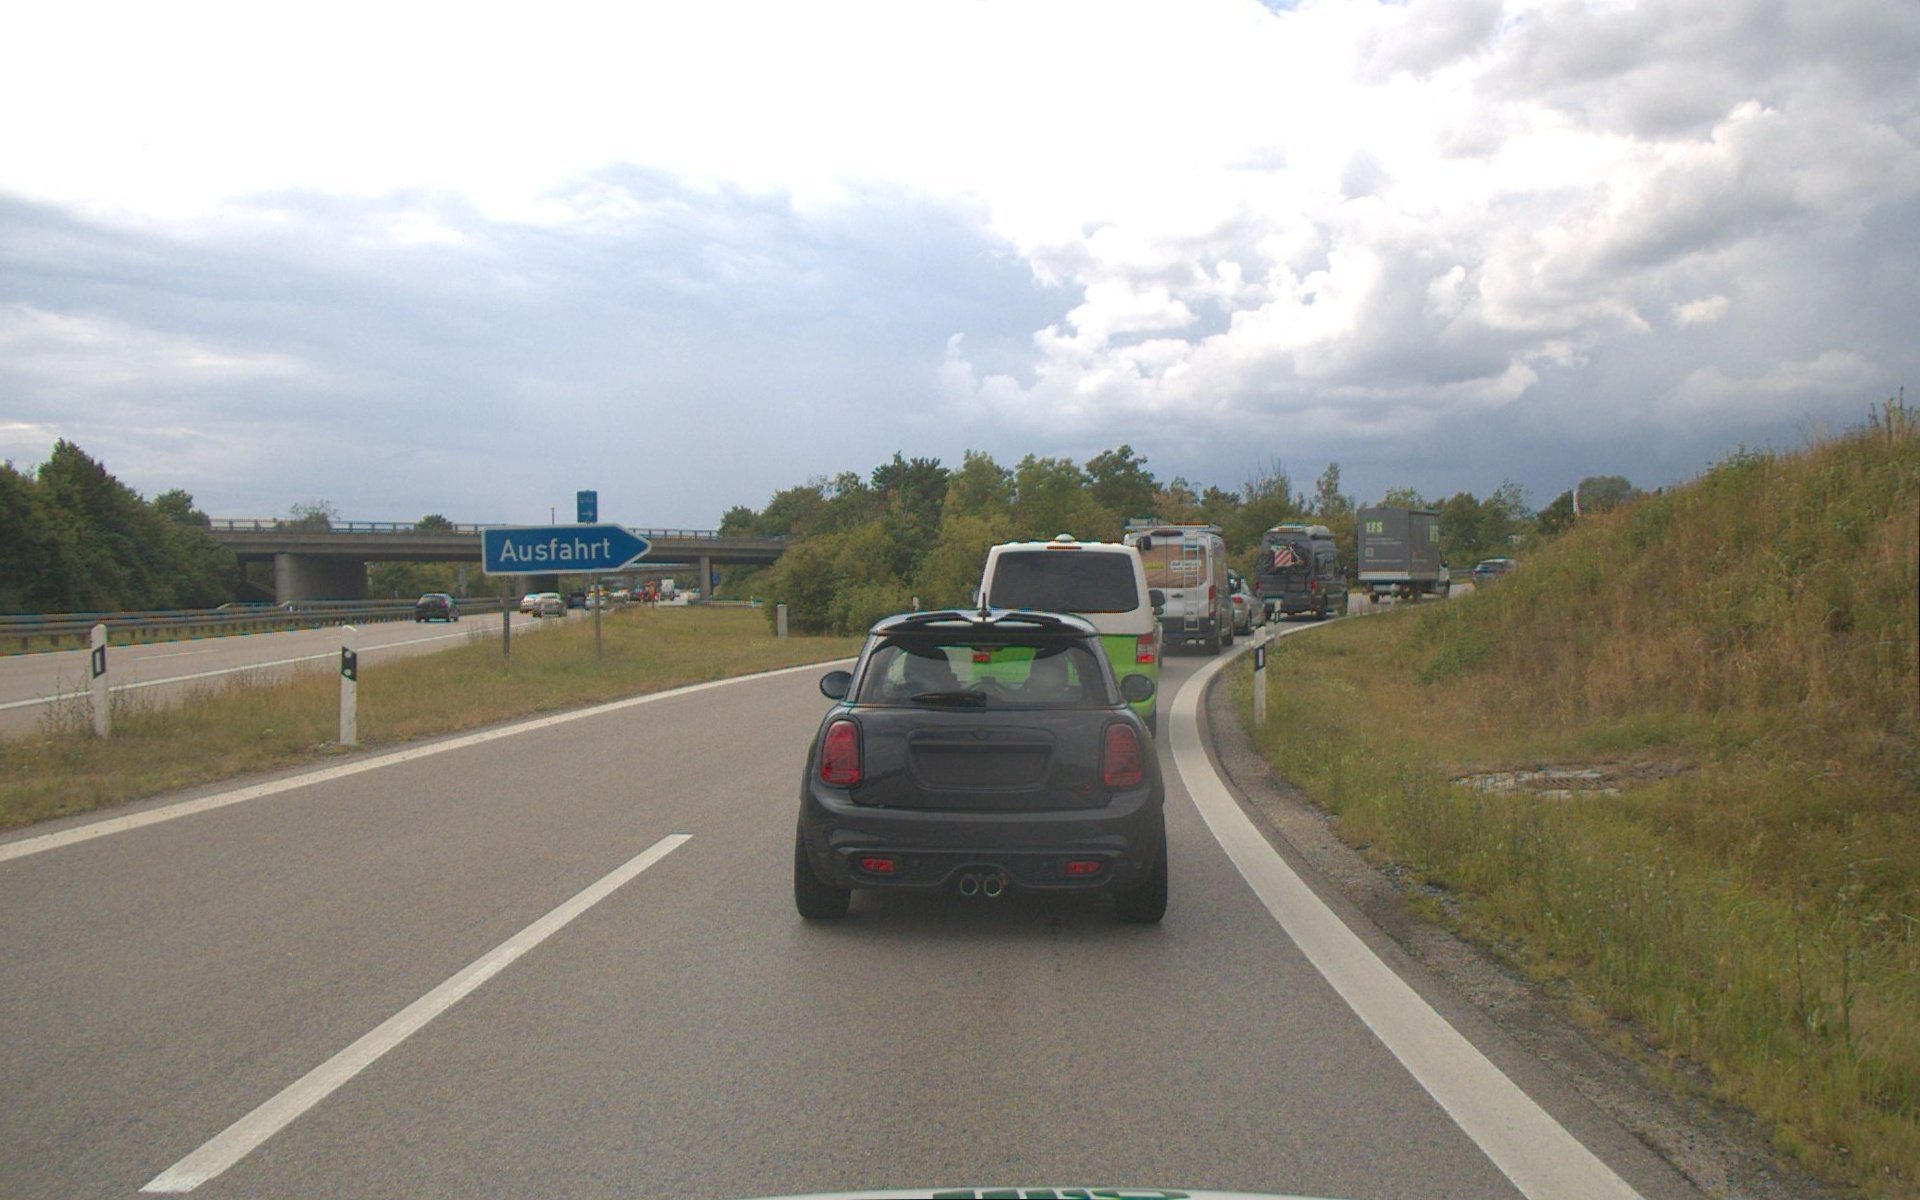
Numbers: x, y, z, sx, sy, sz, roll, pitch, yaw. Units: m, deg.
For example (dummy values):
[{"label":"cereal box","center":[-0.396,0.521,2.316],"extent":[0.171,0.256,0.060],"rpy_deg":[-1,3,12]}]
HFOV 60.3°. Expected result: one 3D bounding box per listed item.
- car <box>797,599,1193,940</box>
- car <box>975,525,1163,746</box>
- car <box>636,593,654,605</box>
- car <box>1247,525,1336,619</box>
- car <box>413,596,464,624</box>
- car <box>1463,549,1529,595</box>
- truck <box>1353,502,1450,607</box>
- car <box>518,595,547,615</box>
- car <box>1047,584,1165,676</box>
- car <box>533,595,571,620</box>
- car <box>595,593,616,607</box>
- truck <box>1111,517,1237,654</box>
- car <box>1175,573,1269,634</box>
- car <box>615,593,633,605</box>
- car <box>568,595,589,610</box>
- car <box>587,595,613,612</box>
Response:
[{"label":"car","center":[0.146,0.727,8.955],"extent":[1.692,1.438,3.725],"rpy_deg":[0,0,0]},{"label":"car","center":[1.240,0.312,17.457],"extent":[1.746,2.049,4.003],"rpy_deg":[0,0,6]},{"label":"car","center":[-43.714,-0.153,229.798],"extent":[2.056,1.700,4.300],"rpy_deg":[-1,0,-6]},{"label":"car","center":[10.489,-0.886,52.179],"extent":[2.062,2.845,4.000],"rpy_deg":[1,1,22]},{"label":"car","center":[-27.157,0.510,86.259],"extent":[1.746,1.423,4.299],"rpy_deg":[-1,0,-7]},{"label":"car","center":[24.998,-1.274,77.094],"extent":[1.958,2.049,3.988],"rpy_deg":[0,-1,33]},{"label":"truck","center":[17.928,-1.757,66.949],"extent":[2.188,3.975,6.002],"rpy_deg":[0,-1,31]},{"label":"car","center":[-32.002,0.369,123.827],"extent":[1.747,1.423,4.296],"rpy_deg":[-1,0,-9]},{"label":"car","center":[2.508,0.457,27.728],"extent":[1.724,1.423,3.728],"rpy_deg":[-1,0,8]},{"label":"car","center":[-25.064,0.442,101.678],"extent":[1.746,1.423,4.543],"rpy_deg":[-1,0,-7]},{"label":"car","center":[-43.586,-0.047,203.492],"extent":[2.056,1.700,4.300],"rpy_deg":[-1,0,-6]},{"label":"truck","center":[4.654,-0.333,35.248],"extent":[2.132,2.705,5.113],"rpy_deg":[-1,1,13]},{"label":"car","center":[6.981,0.079,43.757],"extent":[1.827,1.536,4.002],"rpy_deg":[0,0,18]},{"label":"car","center":[-46.319,-0.137,228.092],"extent":[2.118,1.700,4.300],"rpy_deg":[-1,0,-6]},{"label":"car","center":[-37.668,0.233,163.481],"extent":[1.747,1.423,4.296],"rpy_deg":[-1,0,-10]},{"label":"car","center":[-30.624,0.308,140.929],"extent":[1.746,1.423,4.023],"rpy_deg":[-1,0,-6]}]
